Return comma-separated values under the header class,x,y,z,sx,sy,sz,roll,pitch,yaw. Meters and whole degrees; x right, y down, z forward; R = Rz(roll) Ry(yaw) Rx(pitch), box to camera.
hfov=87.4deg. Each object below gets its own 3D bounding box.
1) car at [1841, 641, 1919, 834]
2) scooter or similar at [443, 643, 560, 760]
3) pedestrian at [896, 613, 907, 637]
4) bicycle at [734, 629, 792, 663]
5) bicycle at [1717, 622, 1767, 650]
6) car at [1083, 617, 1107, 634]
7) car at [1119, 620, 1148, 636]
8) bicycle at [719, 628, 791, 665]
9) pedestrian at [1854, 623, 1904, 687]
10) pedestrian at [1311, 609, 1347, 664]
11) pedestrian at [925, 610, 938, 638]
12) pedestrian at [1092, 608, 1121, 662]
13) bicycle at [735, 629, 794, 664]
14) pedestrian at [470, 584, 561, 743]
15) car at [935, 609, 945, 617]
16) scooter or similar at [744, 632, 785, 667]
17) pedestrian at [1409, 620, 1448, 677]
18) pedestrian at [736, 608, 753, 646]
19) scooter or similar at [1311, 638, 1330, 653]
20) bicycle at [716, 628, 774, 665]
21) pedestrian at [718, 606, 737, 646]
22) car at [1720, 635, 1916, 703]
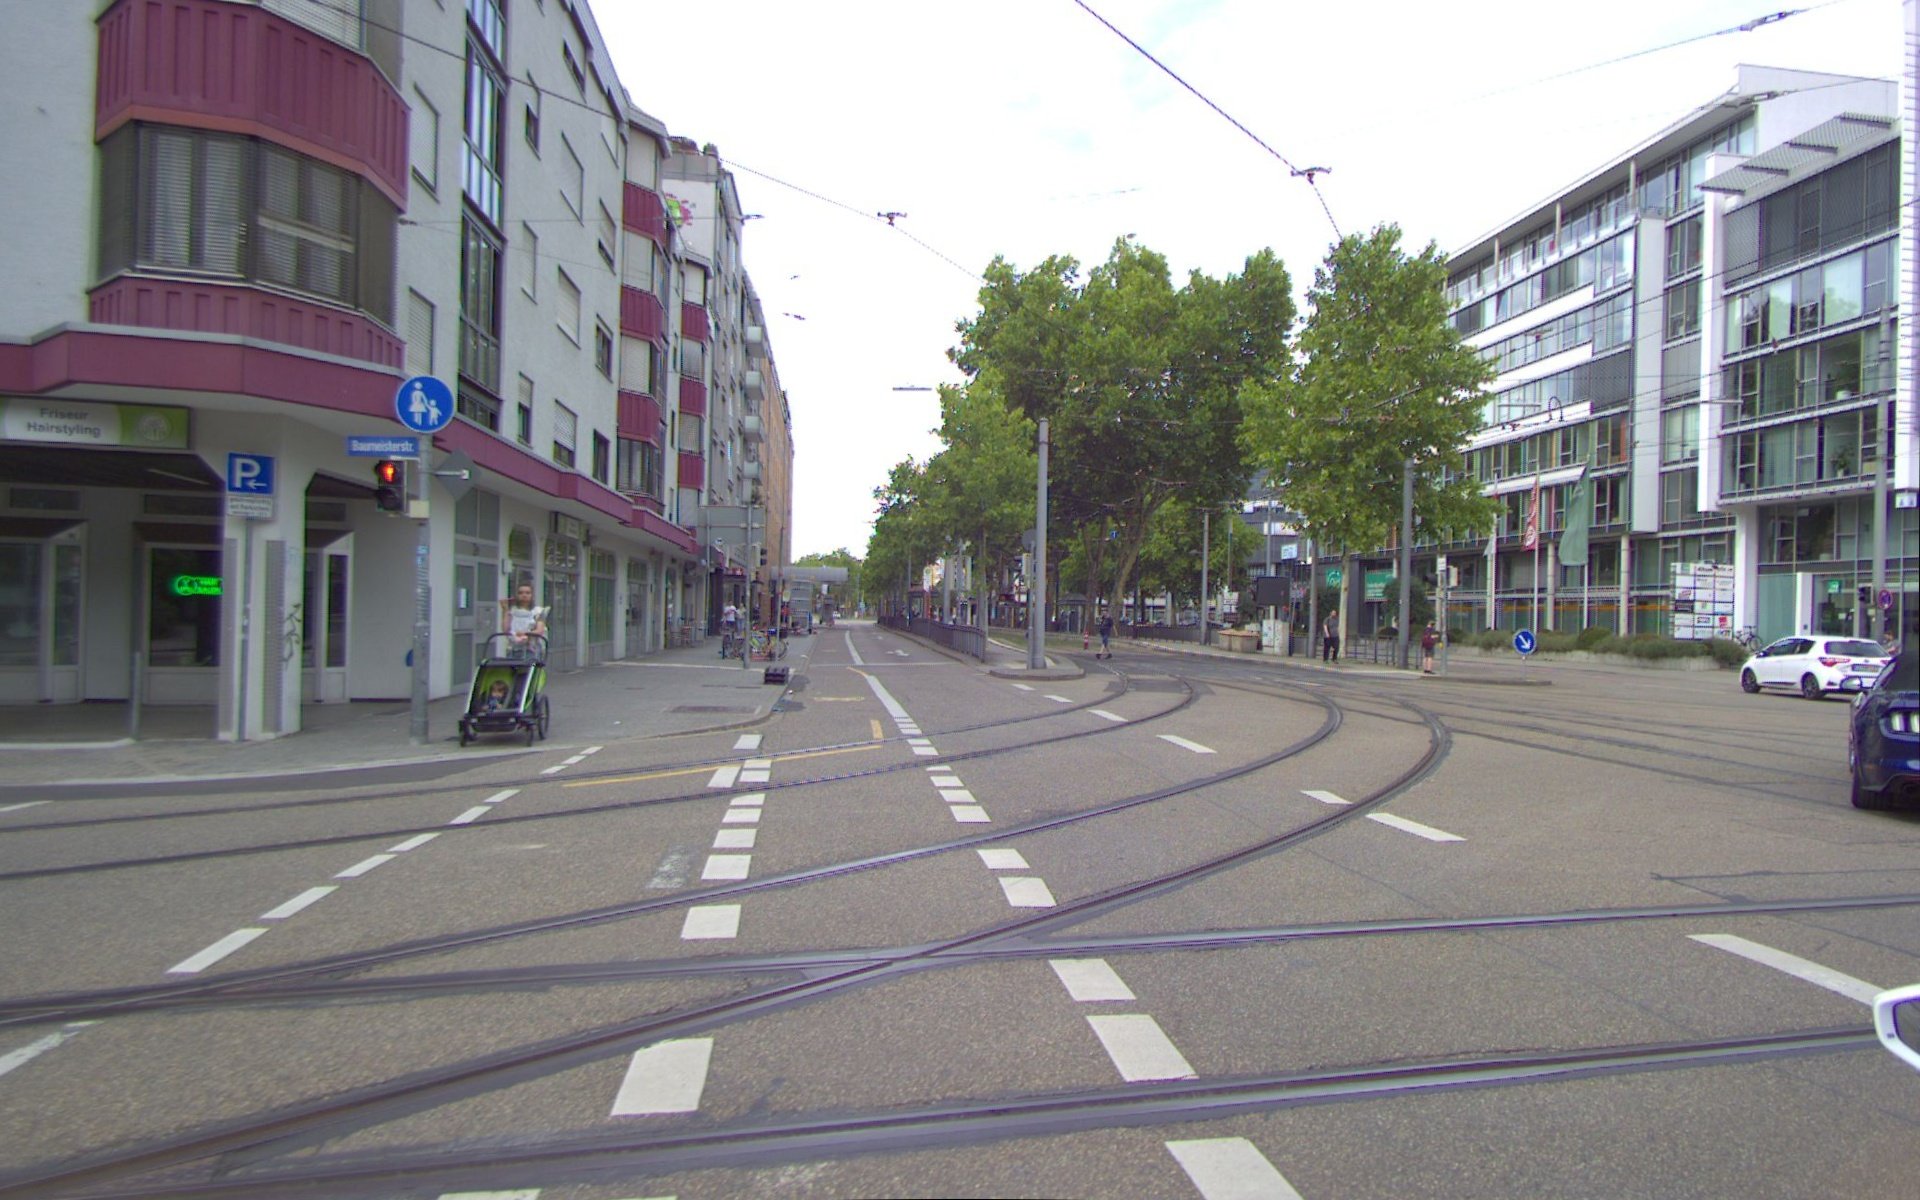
class,x,y,z,sx,sy,sz,roll,pitch,yaw
car,9.101,1.114,8.905,1.854,1.422,4.261,0,-1,40
scooter or similar,-4.914,1.058,10.852,0.931,1.143,1.196,1,0,-14
pedestrian,-4.687,2.005,80.115,0.803,1.912,0.784,1,-1,-10
bicycle,-6.733,1.568,34.373,1.853,1.031,0.708,4,-2,-14
bicycle,36.275,1.680,46.608,2.077,1.192,0.585,2,0,-11
car,15.734,2.995,116.918,1.860,1.928,4.126,1,-1,-5
car,18.479,3.008,107.347,1.851,1.603,4.321,2,-1,-7
bicycle,-6.539,1.487,32.127,2.141,1.031,0.627,4,-2,-6
pedestrian,28.079,1.666,30.705,0.751,1.889,0.836,1,-1,0
pedestrian,12.730,1.255,34.657,0.830,1.880,0.839,2,-1,-28
pedestrian,-1.995,1.692,70.999,0.803,1.912,0.784,1,-1,-10
pedestrian,5.336,1.271,36.641,0.983,1.924,0.805,1,-1,3
bicycle,-6.553,1.563,33.668,1.853,1.031,0.626,4,-2,-14
pedestrian,-5.152,0.719,11.710,0.799,1.766,0.947,1,-1,-16
car,-4.404,2.878,221.913,1.806,1.541,4.173,1,-1,-5
scooter or similar,-6.037,1.524,31.027,1.162,1.001,0.348,5,-3,-30
pedestrian,14.237,1.458,30.526,0.751,1.693,0.938,1,-1,0
pedestrian,-10.047,1.261,46.855,0.746,1.757,0.895,1,-1,-10
scooter or similar,24.632,3.124,68.653,0.578,0.963,1.859,1,-1,-1
bicycle,-6.719,1.461,31.435,1.702,1.031,0.478,4,-2,-14
pedestrian,-10.796,1.206,46.645,0.746,1.799,0.895,1,0,-10
car,20.703,1.603,24.495,1.804,1.458,4.190,1,-1,11
